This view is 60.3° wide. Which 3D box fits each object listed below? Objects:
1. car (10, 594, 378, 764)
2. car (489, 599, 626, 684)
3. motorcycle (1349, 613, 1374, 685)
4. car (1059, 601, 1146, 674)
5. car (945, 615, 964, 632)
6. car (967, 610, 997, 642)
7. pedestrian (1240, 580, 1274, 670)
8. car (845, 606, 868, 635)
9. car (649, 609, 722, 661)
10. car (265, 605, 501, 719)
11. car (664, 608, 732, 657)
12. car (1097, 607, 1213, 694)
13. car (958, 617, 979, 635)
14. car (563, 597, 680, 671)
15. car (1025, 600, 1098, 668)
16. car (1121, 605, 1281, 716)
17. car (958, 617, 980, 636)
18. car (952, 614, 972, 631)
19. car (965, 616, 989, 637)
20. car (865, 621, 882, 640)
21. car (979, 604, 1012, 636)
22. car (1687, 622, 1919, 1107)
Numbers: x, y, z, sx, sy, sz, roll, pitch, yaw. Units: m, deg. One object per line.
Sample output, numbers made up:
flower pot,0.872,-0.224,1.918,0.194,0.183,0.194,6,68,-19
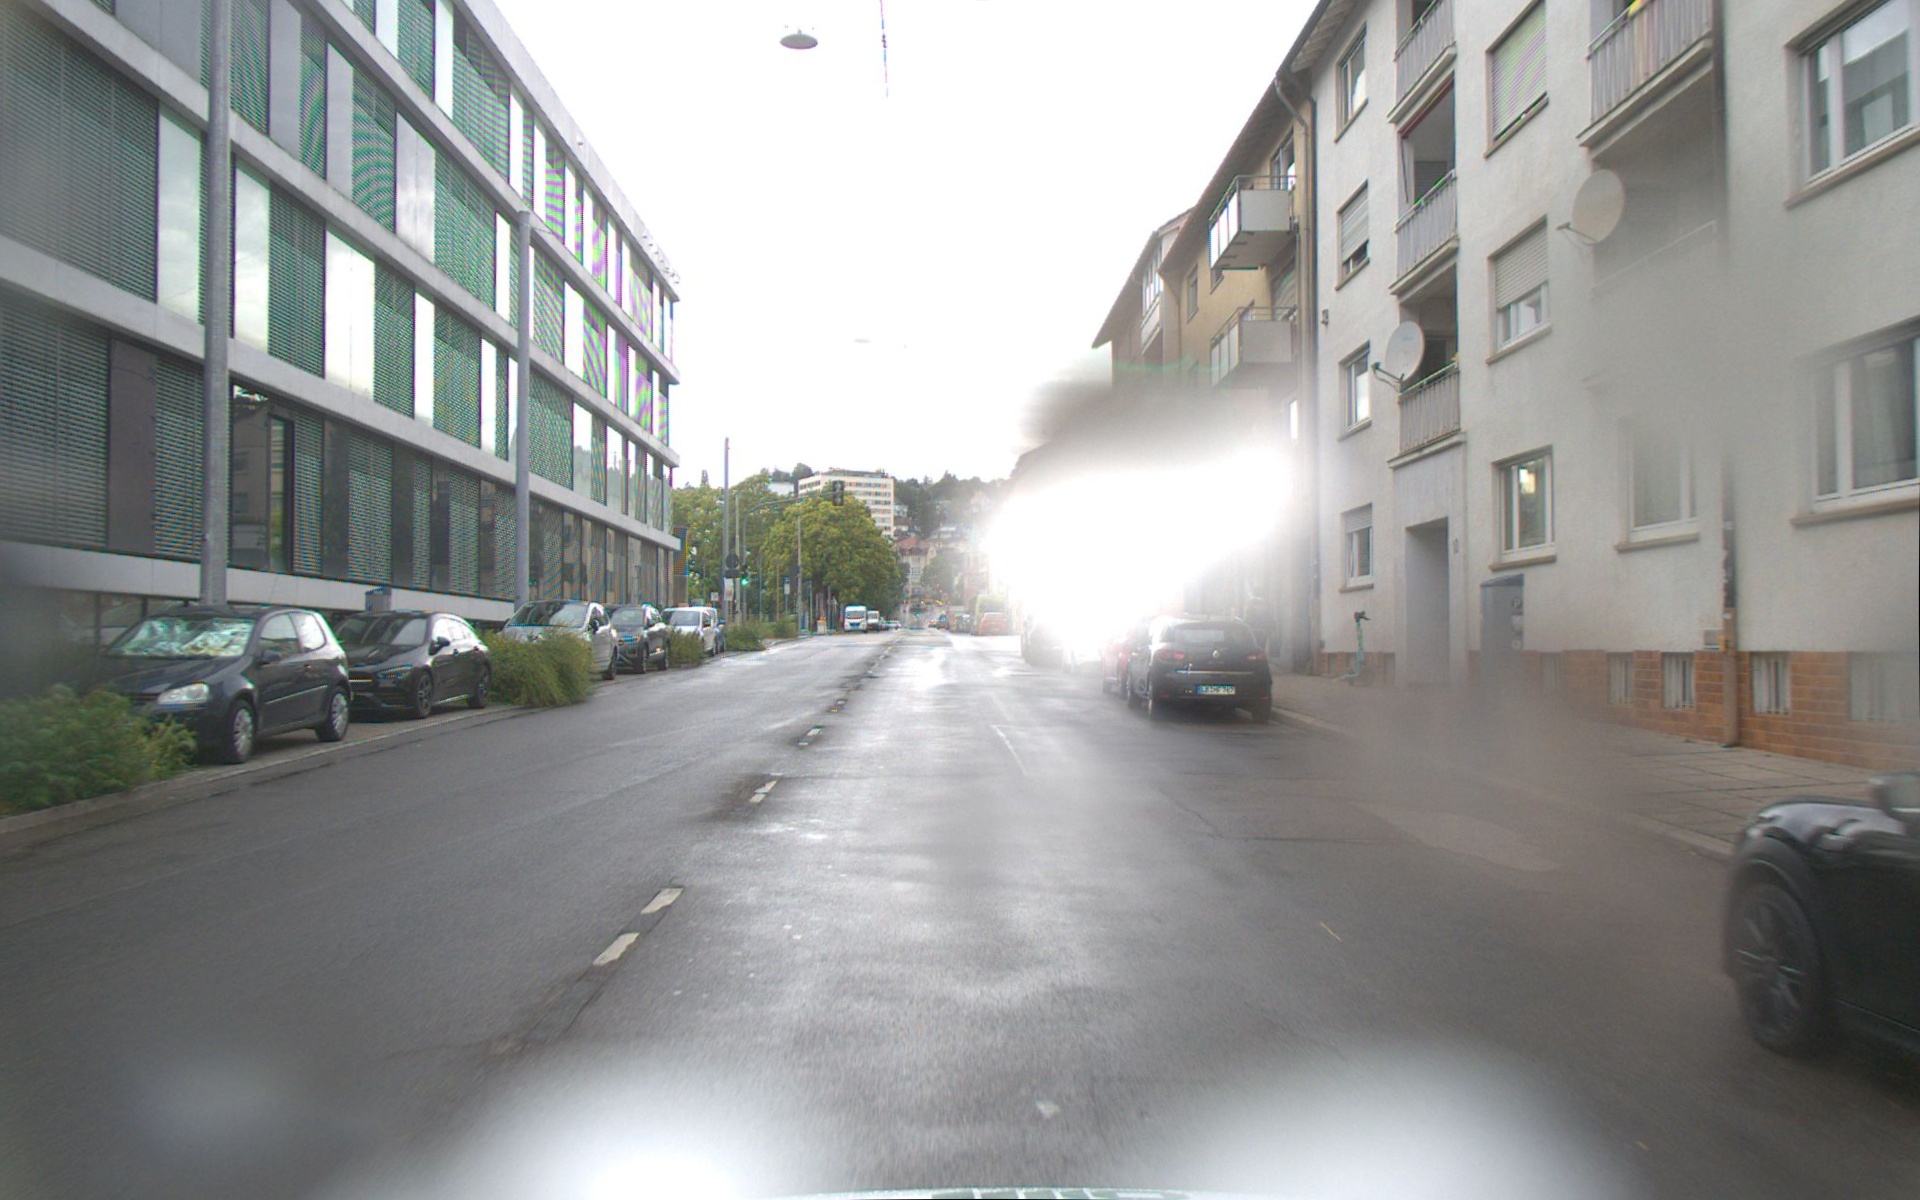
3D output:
car,-7.707,0.744,17.176,1.825,1.515,4.345,1,-1,-1
car,-7.942,0.800,33.037,1.735,1.561,4.315,1,-1,-1
motorcycle,6.762,0.821,27.839,0.247,1.186,0.781,1,-2,2
car,3.247,0.866,38.289,1.602,1.599,3.709,1,-1,-1
car,-0.573,2.496,174.713,1.828,1.632,4.189,1,-2,2
car,1.418,1.692,105.669,1.828,2.008,4.189,1,-2,2
pedestrian,6.368,0.543,35.445,0.626,1.903,0.538,1,-2,1
car,-9.507,1.916,151.899,2.063,2.591,4.747,1,-1,-3
car,-8.265,1.043,50.029,1.562,1.485,3.718,1,-1,0
car,-7.916,0.835,23.145,1.800,1.421,4.391,1,-1,-1
car,-8.726,1.078,55.342,1.830,1.552,4.193,1,-1,-3
car,3.426,0.896,29.628,1.550,1.438,3.652,1,-1,-1
car,0.844,2.448,156.246,1.828,1.632,4.189,1,-2,2
car,-7.926,0.828,39.125,1.764,1.632,4.234,1,-2,2
car,2.709,0.900,44.977,1.621,1.768,4.178,0,-1,-2
car,3.453,0.865,24.328,1.672,1.480,3.983,1,-1,-1
car,0.850,2.425,151.210,1.828,1.632,4.189,1,-2,2
car,0.240,2.266,166.565,1.828,1.632,4.189,1,-2,2
car,1.356,2.136,131.862,1.828,1.632,4.189,1,-2,2
car,-9.973,3.512,190.715,1.830,2.179,4.354,1,-2,-5
car,2.095,1.177,96.557,1.828,1.801,4.189,1,-2,2
car,3.801,0.830,4.805,1.639,1.485,3.763,0,0,-2
